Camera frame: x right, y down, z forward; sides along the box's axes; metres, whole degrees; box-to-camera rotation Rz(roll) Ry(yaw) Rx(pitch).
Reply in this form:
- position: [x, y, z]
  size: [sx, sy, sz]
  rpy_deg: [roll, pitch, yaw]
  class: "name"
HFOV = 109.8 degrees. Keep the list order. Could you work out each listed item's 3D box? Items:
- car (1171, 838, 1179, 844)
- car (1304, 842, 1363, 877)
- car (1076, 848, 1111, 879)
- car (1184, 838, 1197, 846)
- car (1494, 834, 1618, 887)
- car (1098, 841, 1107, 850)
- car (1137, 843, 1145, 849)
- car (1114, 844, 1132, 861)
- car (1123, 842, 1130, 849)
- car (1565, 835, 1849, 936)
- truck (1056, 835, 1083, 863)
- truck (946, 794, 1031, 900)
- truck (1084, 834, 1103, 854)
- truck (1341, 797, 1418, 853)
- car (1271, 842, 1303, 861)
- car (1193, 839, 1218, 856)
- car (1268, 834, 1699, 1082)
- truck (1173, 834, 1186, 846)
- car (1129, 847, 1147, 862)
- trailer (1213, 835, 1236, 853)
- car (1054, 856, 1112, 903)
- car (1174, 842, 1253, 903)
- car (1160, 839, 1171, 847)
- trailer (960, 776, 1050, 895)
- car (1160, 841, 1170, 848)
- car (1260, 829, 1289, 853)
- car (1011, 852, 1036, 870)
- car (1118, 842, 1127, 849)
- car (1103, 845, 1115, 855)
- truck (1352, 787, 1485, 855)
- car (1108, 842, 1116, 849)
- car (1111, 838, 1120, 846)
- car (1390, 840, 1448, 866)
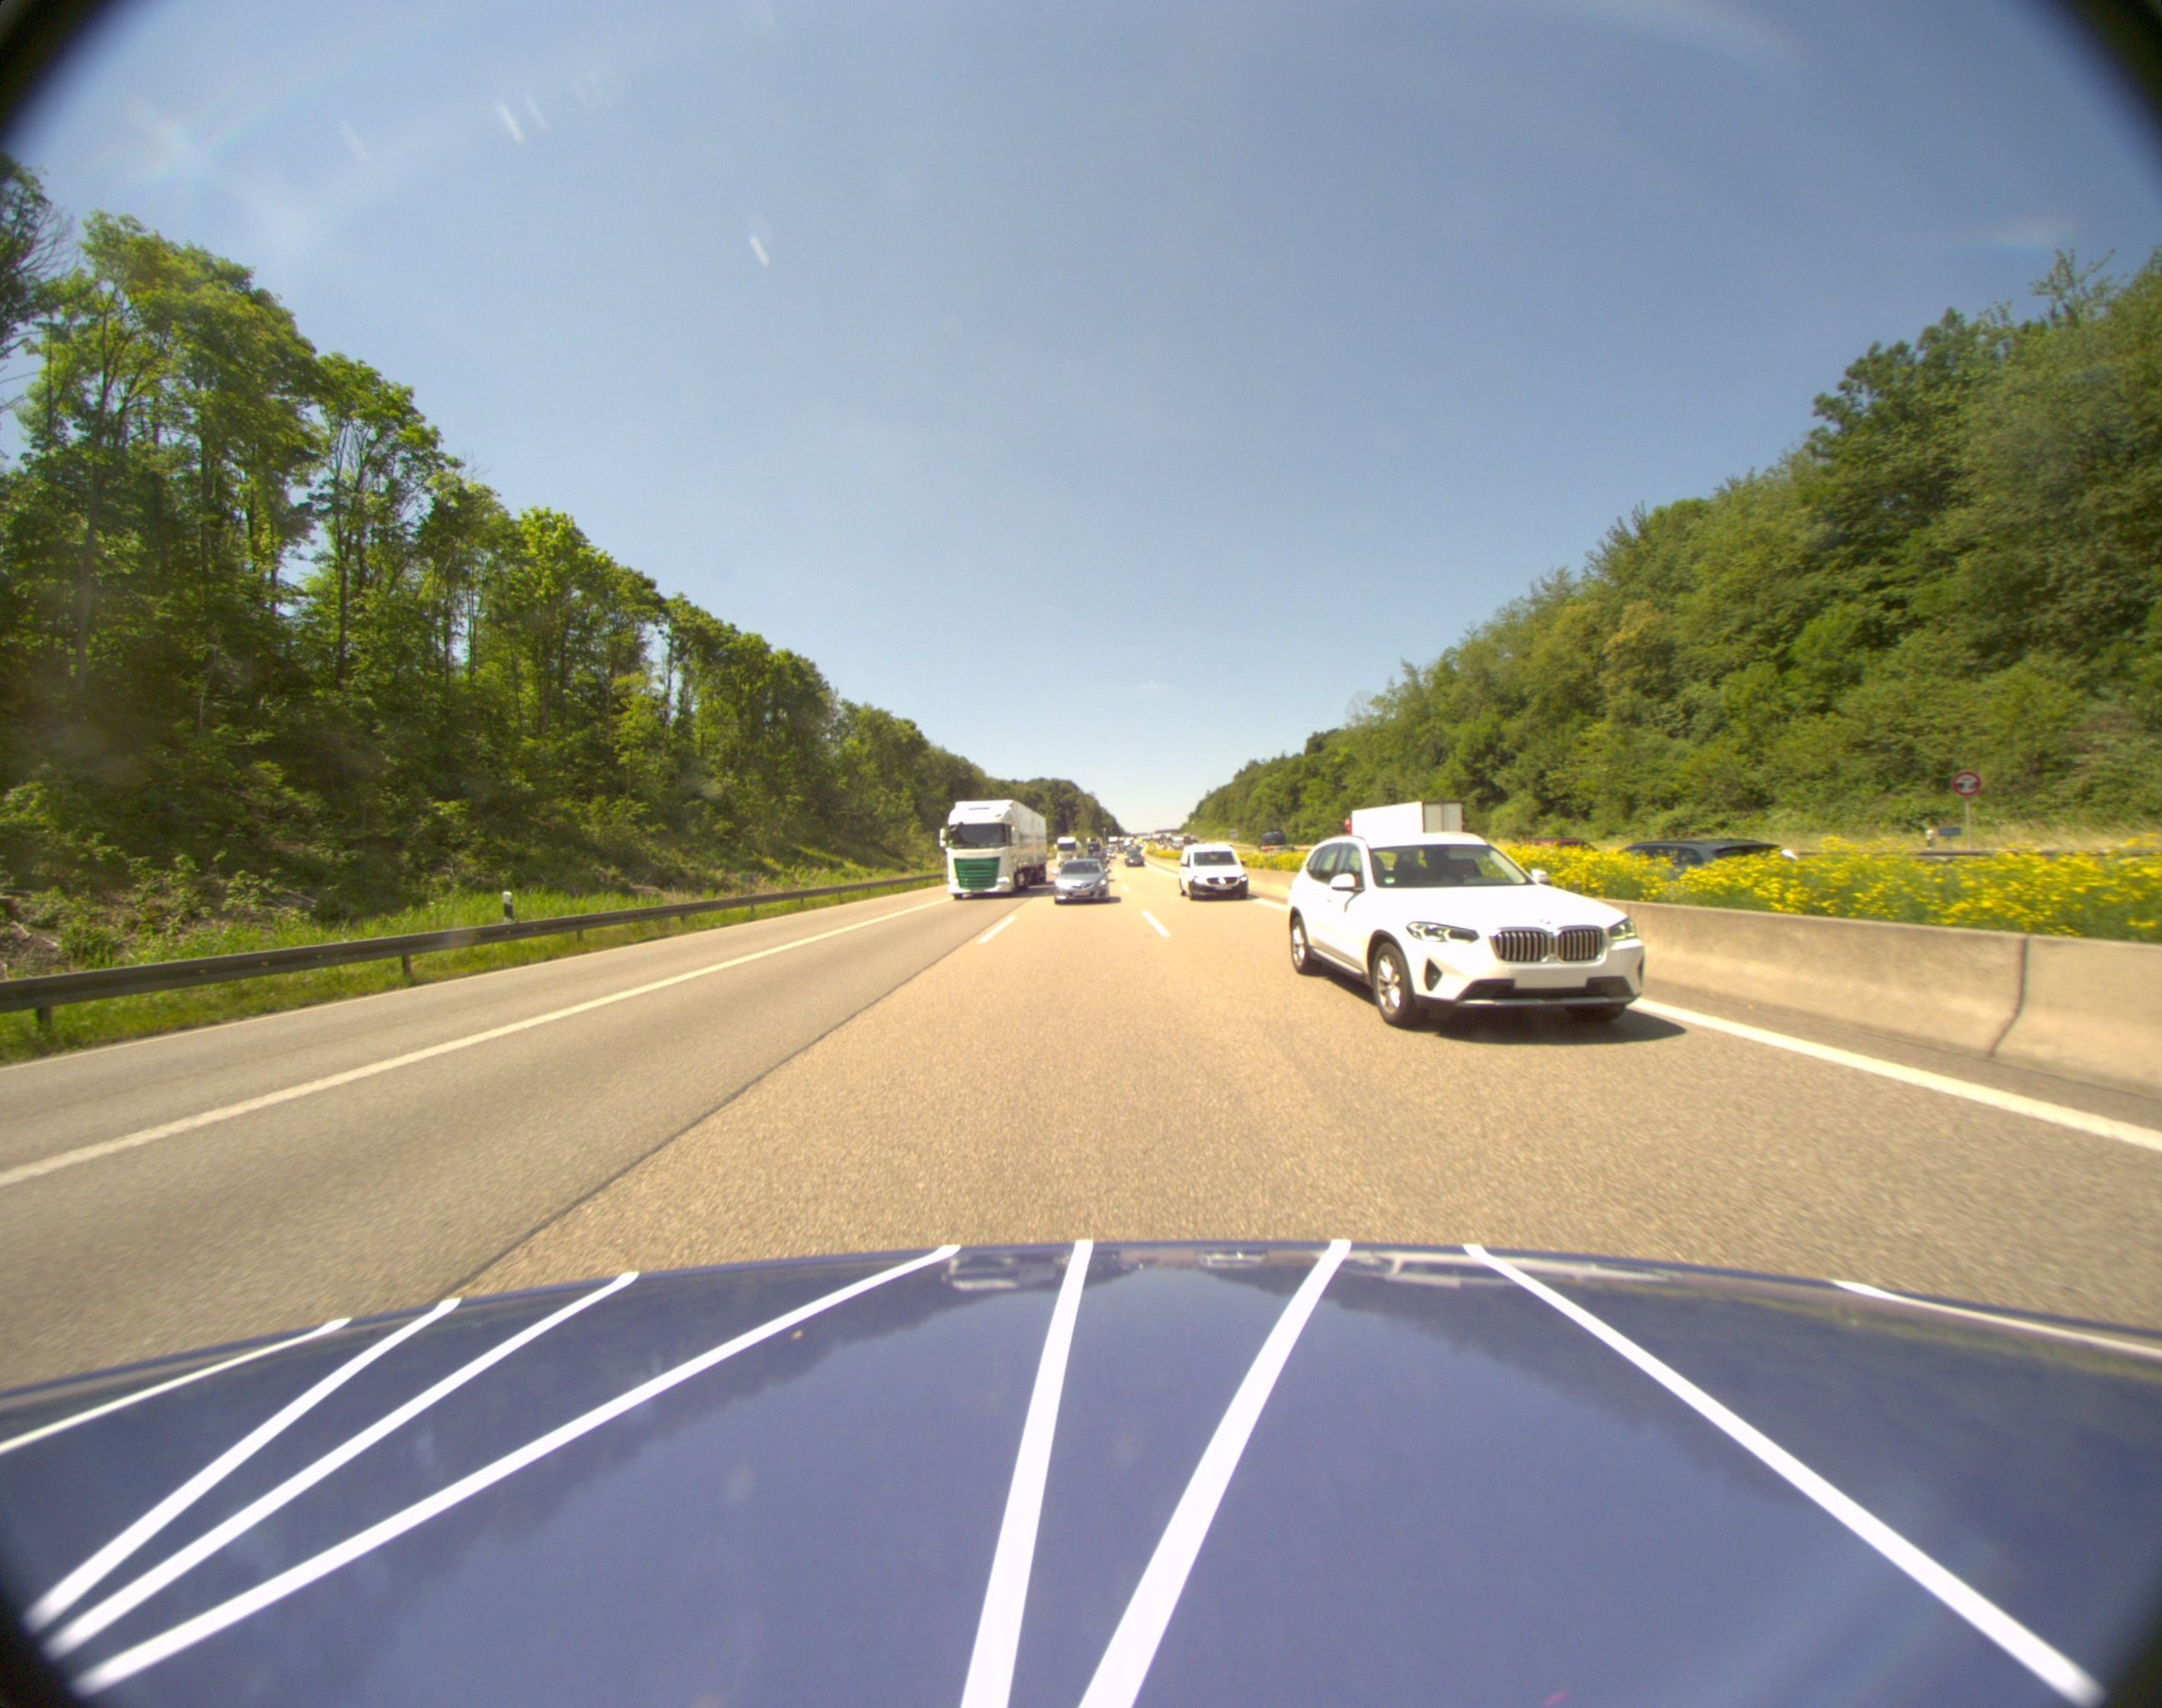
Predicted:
- position: [28.940, -4.048, 234.827]
  size: [2.018, 1.676, 4.147]
  rpy_deg: [-2, 1, 1]
  class: "car"
- position: [11.594, 0.214, 35.112]
  size: [1.602, 1.500, 3.359]
  rpy_deg: [-2, 1, 1]
  class: "car"
- position: [0.770, 0.535, 45.084]
  size: [1.887, 1.695, 4.085]
  rpy_deg: [-2, 0, 2]
  class: "car"
- position: [21.814, -2.393, 151.234]
  size: [1.998, 1.676, 3.999]
  rpy_deg: [-2, 1, 1]
  class: "car"
- position: [14.770, 0.193, 23.849]
  size: [1.618, 1.472, 3.508]
  rpy_deg: [-2, 0, -1]
  class: "car"
- position: [5.247, -2.024, 182.851]
  size: [1.964, 2.002, 4.000]
  rpy_deg: [-2, 0, 0]
  class: "car"
- position: [15.390, -2.139, 194.874]
  size: [1.998, 1.426, 4.000]
  rpy_deg: [-2, 0, 2]
  class: "car"
- position: [5.050, -0.230, 92.267]
  size: [1.998, 2.002, 4.000]
  rpy_deg: [-2, 1, 2]
  class: "car"
- position: [12.654, -2.359, 211.662]
  size: [1.998, 1.728, 4.000]
  rpy_deg: [-2, 1, 3]
  class: "car"
- position: [11.258, 0.476, 14.123]
  size: [1.998, 1.543, 3.999]
  rpy_deg: [-2, 1, 1]
  class: "car"
- position: [-1.420, -0.701, 96.962]
  size: [3.263, 3.337, 6.862]
  rpy_deg: [-2, 1, 0]
  class: "truck"
- position: [-3.772, -0.306, 32.523]
  size: [2.542, 4.006, 6.625]
  rpy_deg: [-2, 1, 1]
  class: "truck"
- position: [2.396, -2.019, 148.022]
  size: [3.558, 3.694, 7.550]
  rpy_deg: [-2, 1, 1]
  class: "truck"
- position: [23.812, -2.254, 60.985]
  size: [3.718, 4.171, 6.284]
  rpy_deg: [-2, 1, 2]
  class: "truck"
- position: [16.021, -0.207, 59.335]
  size: [1.602, 1.375, 3.359]
  rpy_deg: [-2, 1, 1]
  class: "car"
- position: [13.087, -0.695, 80.123]
  size: [1.922, 1.658, 3.999]
  rpy_deg: [-2, 1, 0]
  class: "car"
- position: [3.438, 0.744, 7.829]
  size: [1.868, 1.684, 4.956]
  rpy_deg: [-2, 0, 1]
  class: "car"
- position: [26.630, -3.651, 205.954]
  size: [2.544, 3.102, 7.784]
  rpy_deg: [-2, 1, 1]
  class: "truck"
- position: [5.845, 0.021, 78.514]
  size: [1.720, 1.470, 4.001]
  rpy_deg: [-2, 0, 3]
  class: "car"
- position: [17.617, -1.231, 93.416]
  size: [1.998, 2.002, 3.999]
  rpy_deg: [-2, 1, 1]
  class: "trailer"
- position: [0.080, 0.860, 27.380]
  size: [1.887, 1.458, 4.248]
  rpy_deg: [-2, 0, 0]
  class: "car"
- position: [4.342, 0.577, 25.574]
  size: [1.769, 1.802, 4.674]
  rpy_deg: [-2, 0, 0]
  class: "car"
- position: [17.784, -2.264, 159.739]
  size: [1.998, 1.676, 3.999]
  rpy_deg: [-2, 1, 1]
  class: "car"
- position: [-3.584, -0.894, 40.390]
  size: [2.574, 5.011, 15.271]
  rpy_deg: [-2, 1, 2]
  class: "trailer"
- position: [21.514, -2.512, 194.260]
  size: [2.158, 1.676, 4.147]
  rpy_deg: [-2, 1, 1]
  class: "car"
- position: [20.485, -1.335, 80.674]
  size: [1.998, 2.416, 3.999]
  rpy_deg: [-2, 1, 1]
  class: "car"
- position: [-5.284, 0.665, 70.498]
  size: [1.934, 1.534, 3.756]
  rpy_deg: [-2, 0, 0]
  class: "car"
- position: [10.202, -2.088, 187.146]
  size: [1.998, 1.728, 3.999]
  rpy_deg: [-2, 1, 1]
  class: "car"
- position: [4.966, -0.762, 133.399]
  size: [1.998, 1.728, 3.999]
  rpy_deg: [-2, 1, 1]
  class: "car"
- position: [23.666, -2.165, 54.592]
  size: [3.718, 4.170, 13.792]
  rpy_deg: [-2, 1, 2]
  class: "truck"
- position: [8.312, -2.225, 201.885]
  size: [1.998, 1.728, 4.000]
  rpy_deg: [-2, 1, 3]
  class: "car"
- position: [10.708, -3.682, 234.336]
  size: [2.697, 2.467, 6.584]
  rpy_deg: [-2, 1, 3]
  class: "car"
- position: [19.176, -0.038, 43.256]
  size: [1.618, 1.381, 3.508]
  rpy_deg: [-2, 0, -1]
  class: "car"
